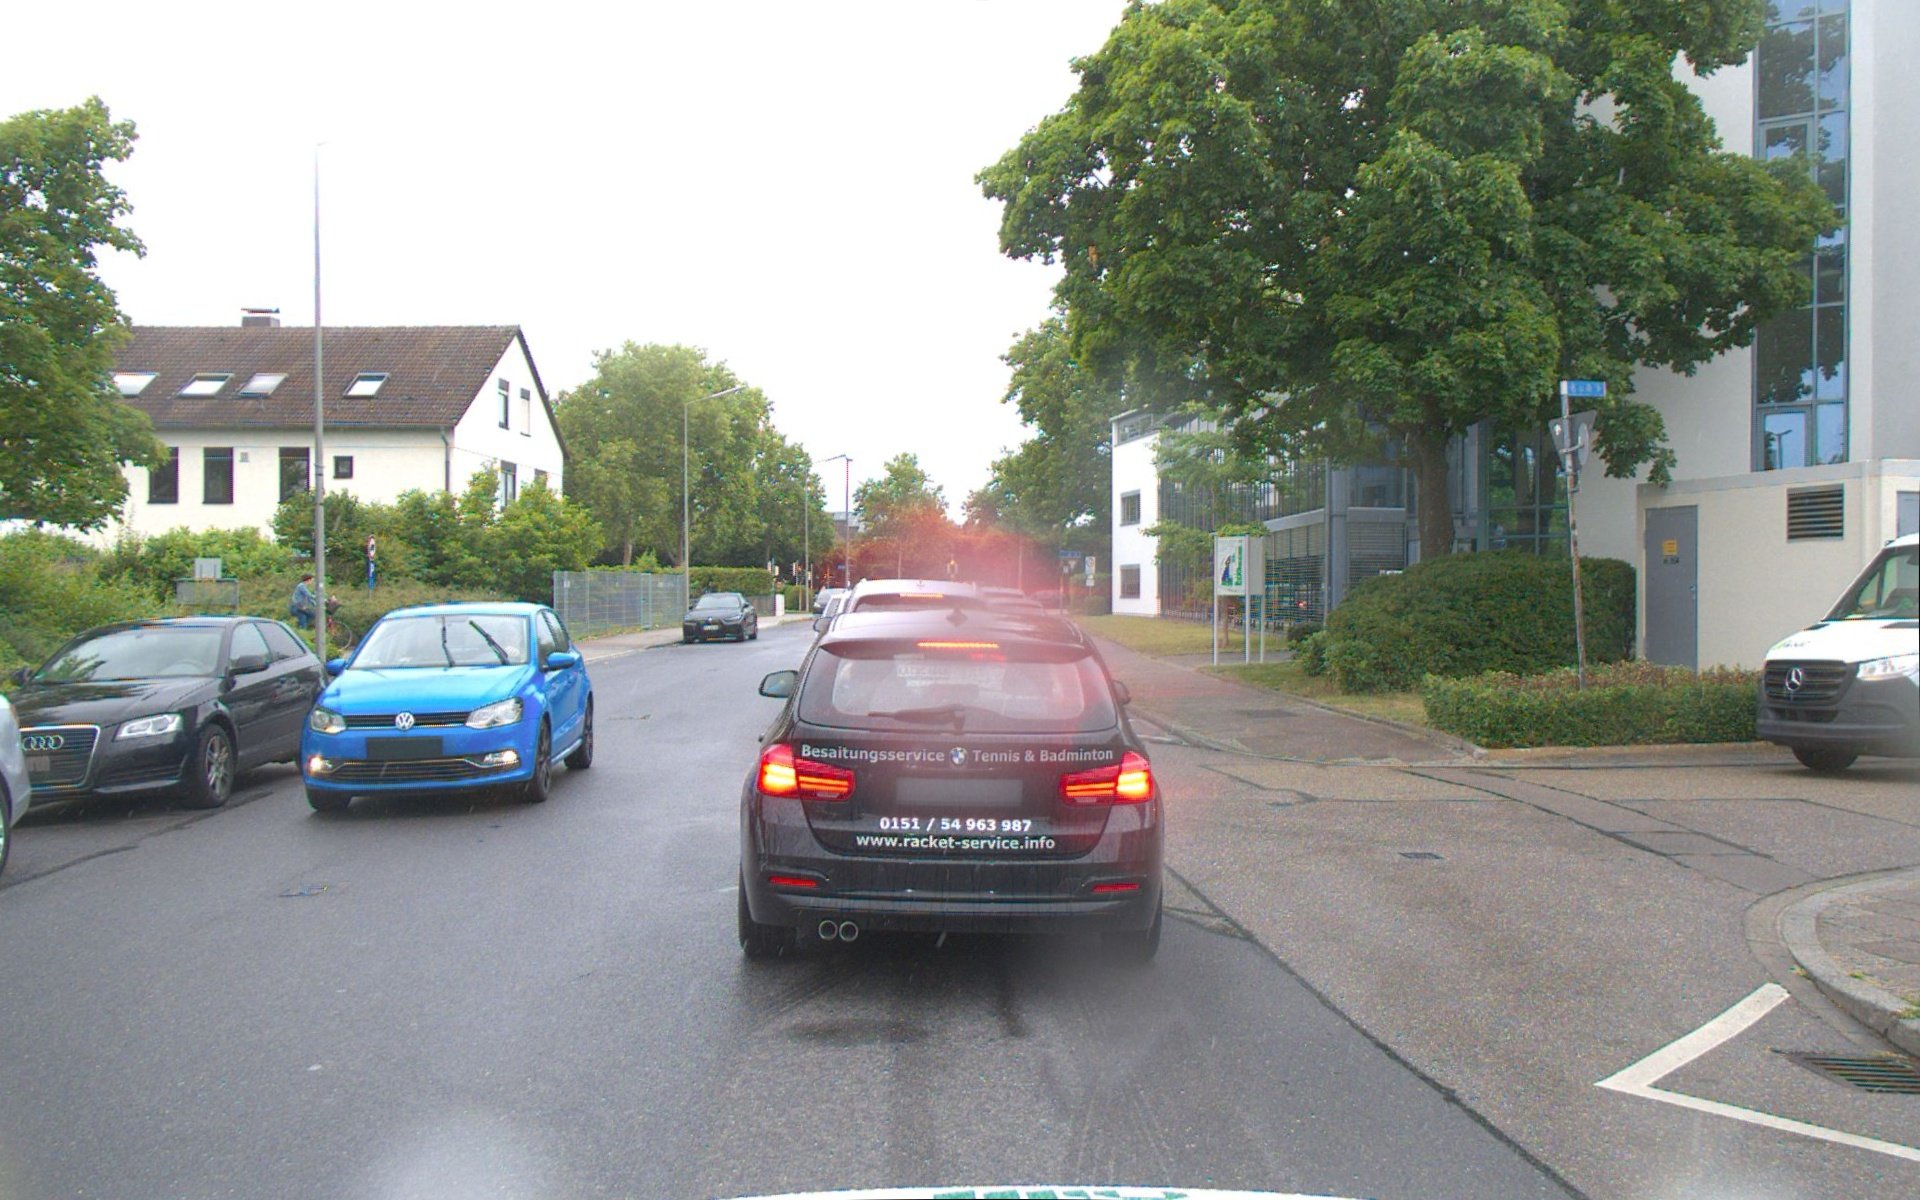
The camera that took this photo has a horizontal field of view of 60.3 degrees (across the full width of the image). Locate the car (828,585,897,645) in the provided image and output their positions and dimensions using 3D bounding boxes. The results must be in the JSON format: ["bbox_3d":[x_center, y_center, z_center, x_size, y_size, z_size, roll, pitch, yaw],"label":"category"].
[{"bbox_3d":[-2.743,0.419,47.090,1.767,1.614,3.999,1,0,-1],"label":"car"}]

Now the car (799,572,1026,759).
[{"bbox_3d":[-0.596,0.581,16.403,1.771,1.614,3.992,1,0,-9],"label":"car"}]

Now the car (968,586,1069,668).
[{"bbox_3d":[1.174,0.539,34.774,1.768,1.614,3.997,1,0,-3],"label":"car"}]

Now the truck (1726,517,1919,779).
[{"bbox_3d":[10.830,0.387,15.417,6.799,2.177,2.089,0,0,-11],"label":"truck"}]

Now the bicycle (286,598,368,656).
[{"bbox_3d":[-13.937,0.580,36.413,1.638,1.234,0.492,0,0,-30],"label":"bicycle"}]

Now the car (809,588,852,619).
[{"bbox_3d":[-6.412,0.173,82.219,1.670,1.391,3.839,-2,1,2],"label":"car"}]

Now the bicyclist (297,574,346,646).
[{"bbox_3d":[-14.042,0.213,36.391,0.929,1.543,0.608,0,0,-30],"label":"bicyclist"}]

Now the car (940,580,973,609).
[{"bbox_3d":[-0.211,-0.309,93.744,1.768,1.614,3.999,0,0,-1],"label":"car"}]

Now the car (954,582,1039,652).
[{"bbox_3d":[0.844,0.406,40.361,1.768,1.614,3.997,1,0,-3],"label":"car"}]

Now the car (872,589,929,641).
[{"bbox_3d":[-1.903,0.484,54.201,1.767,1.614,3.999,1,0,-1],"label":"car"}]

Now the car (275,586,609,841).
[{"bbox_3d":[-3.857,0.735,12.965,1.673,1.622,3.834,-2,1,-5],"label":"car"}]

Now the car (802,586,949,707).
[{"bbox_3d":[-1.326,0.633,24.260,1.771,1.614,3.992,1,0,-8],"label":"car"}]

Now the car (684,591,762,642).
[{"bbox_3d":[-7.148,0.464,50.171,1.670,1.391,3.839,-2,1,2],"label":"car"}]

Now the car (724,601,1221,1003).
[{"bbox_3d":[-0.073,0.730,7.914,1.768,1.419,3.997,1,0,-4],"label":"car"}]

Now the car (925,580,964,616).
[{"bbox_3d":[-0.727,-0.098,75.729,1.768,1.614,3.999,0,0,-1],"label":"car"}]

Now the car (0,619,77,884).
[{"bbox_3d":[-5.816,0.865,7.405,1.673,1.391,4.594,-2,1,-7],"label":"car"}]

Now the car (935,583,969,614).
[{"bbox_3d":[-0.451,-0.109,87.519,1.768,1.614,3.999,0,0,-1],"label":"car"}]

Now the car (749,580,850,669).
[{"bbox_3d":[-3.051,0.456,32.144,1.768,1.614,3.997,1,0,-3],"label":"car"}]

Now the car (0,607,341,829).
[{"bbox_3d":[-6.337,0.818,13.106,1.673,1.391,3.834,-2,1,-5],"label":"car"}]
